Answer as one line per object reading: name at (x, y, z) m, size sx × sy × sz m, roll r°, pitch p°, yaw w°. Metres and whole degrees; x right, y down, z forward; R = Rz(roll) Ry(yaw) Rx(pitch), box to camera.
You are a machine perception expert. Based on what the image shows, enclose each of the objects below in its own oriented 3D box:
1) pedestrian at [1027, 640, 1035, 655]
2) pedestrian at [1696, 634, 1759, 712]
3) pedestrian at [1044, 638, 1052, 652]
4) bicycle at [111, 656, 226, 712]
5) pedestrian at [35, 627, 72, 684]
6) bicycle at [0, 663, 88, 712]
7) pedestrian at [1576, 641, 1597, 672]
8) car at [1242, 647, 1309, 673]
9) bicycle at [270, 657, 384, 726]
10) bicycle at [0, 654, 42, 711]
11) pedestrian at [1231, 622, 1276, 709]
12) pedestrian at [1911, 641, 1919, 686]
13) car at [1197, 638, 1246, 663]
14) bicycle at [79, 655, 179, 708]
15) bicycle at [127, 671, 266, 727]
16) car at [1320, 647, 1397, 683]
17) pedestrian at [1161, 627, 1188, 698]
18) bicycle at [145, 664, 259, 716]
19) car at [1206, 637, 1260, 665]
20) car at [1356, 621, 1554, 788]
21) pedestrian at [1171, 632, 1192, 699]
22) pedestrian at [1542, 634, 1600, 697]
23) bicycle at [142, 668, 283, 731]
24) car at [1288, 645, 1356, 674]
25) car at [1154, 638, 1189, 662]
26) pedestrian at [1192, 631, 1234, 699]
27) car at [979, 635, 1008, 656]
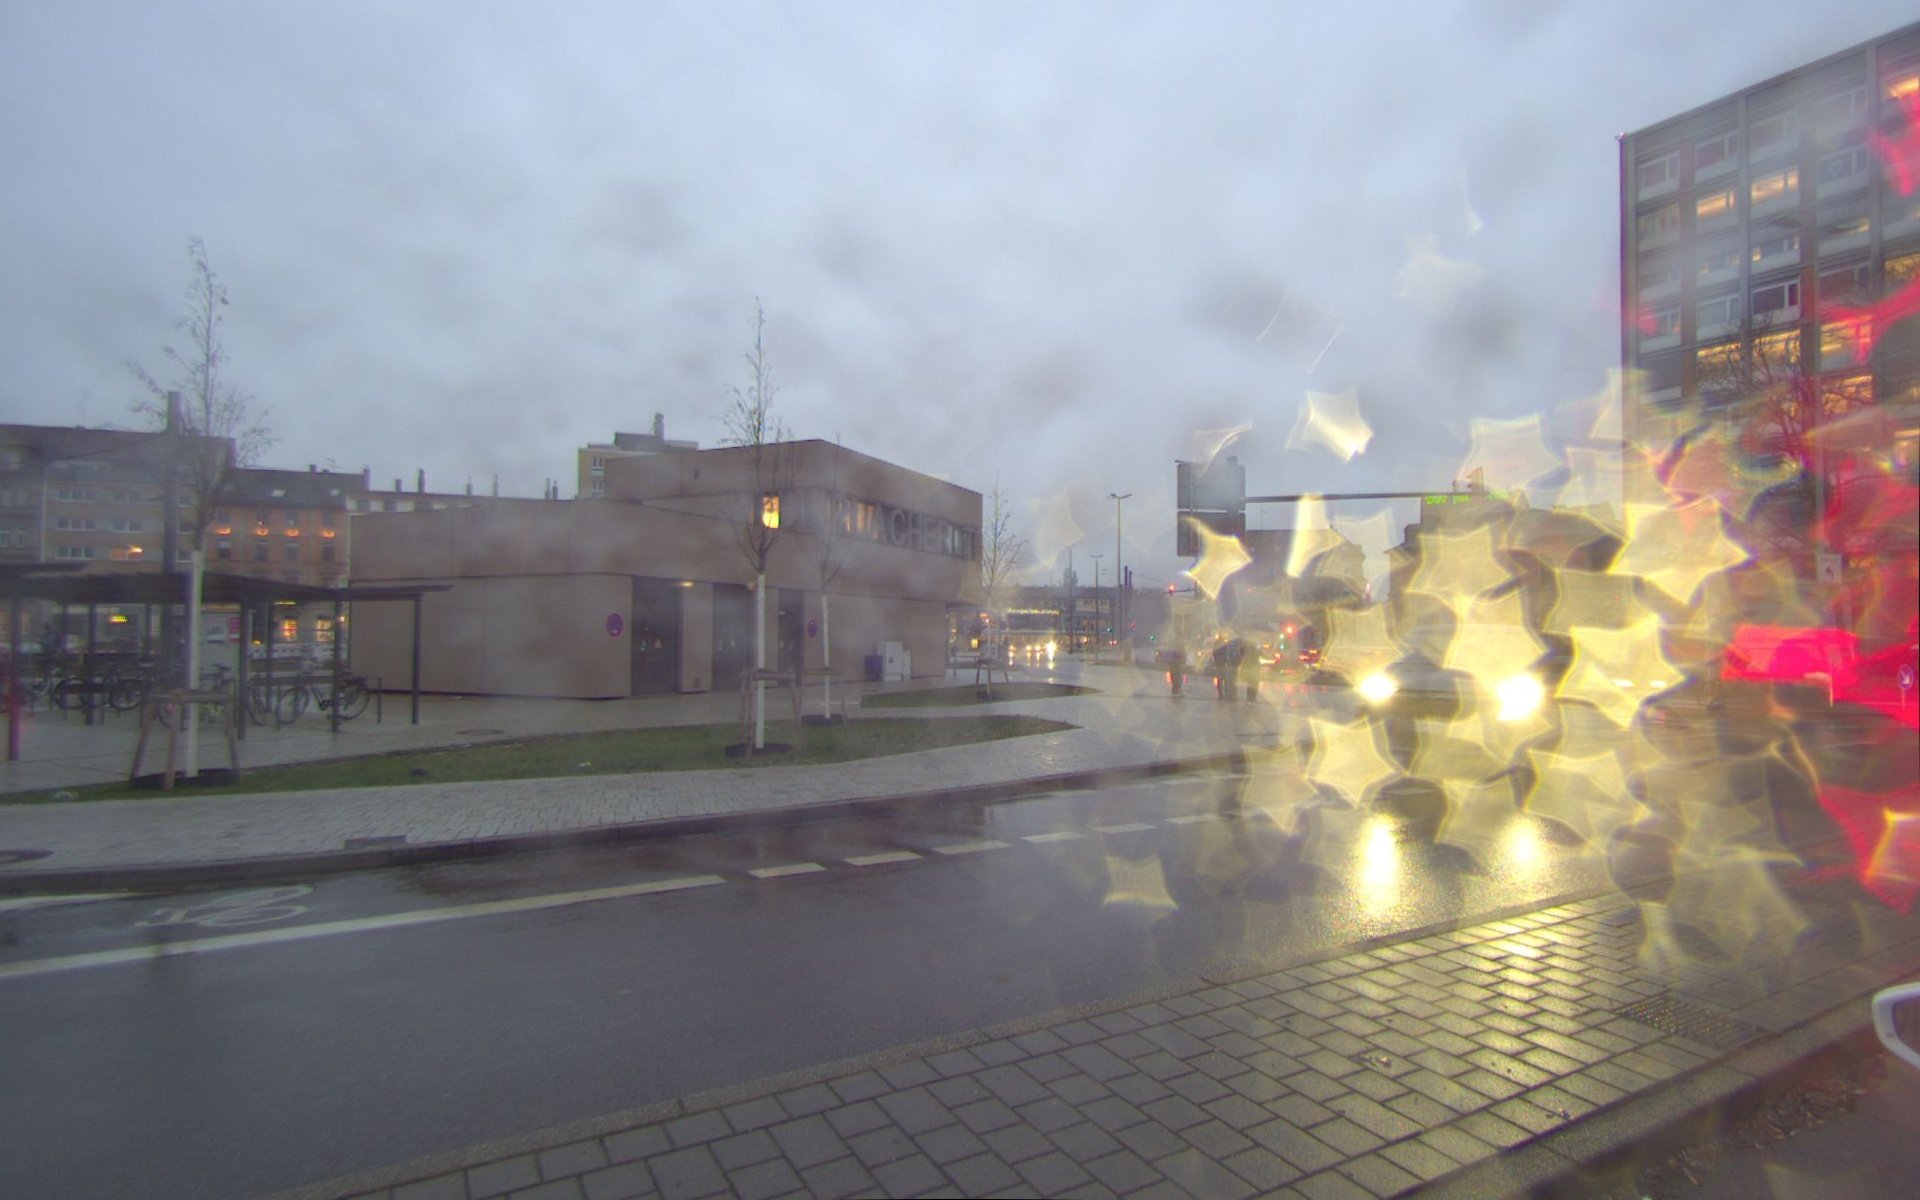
pedestrian at (9.694, 6.440, 136.381) m, size 0.960 × 2.040 × 0.921 m, roll -1°, pitch -2°, yaw 11°
pedestrian at (20.064, 1.888, 26.277) m, size 0.946 × 2.004 × 0.925 m, roll 0°, pitch -2°, yaw -24°
pedestrian at (12.913, 6.593, 147.215) m, size 0.960 × 2.040 × 0.921 m, roll -1°, pitch -2°, yaw 11°
bicycle at (-16.534, 1.738, 21.035) m, size 0.466 × 1.087 × 1.830 m, roll 1°, pitch -2°, yaw 26°
pedestrian at (-26.871, 1.639, 29.781) m, size 0.519 × 1.688 × 0.699 m, roll -2°, pitch -2°, yaw 34°
bicycle at (-18.512, 1.735, 19.985) m, size 0.466 × 0.903 × 1.693 m, roll 1°, pitch -2°, yaw 24°
pedestrian at (33.477, 3.013, 53.691) m, size 0.548 × 1.649 × 0.760 m, roll 0°, pitch -2°, yaw -15°
car at (20.083, 3.812, 63.976) m, size 3.741 × 1.502 × 1.602 m, roll 2°, pitch 0°, yaw -1°
bicycle at (-11.753, 1.678, 18.715) m, size 0.605 × 1.172 × 1.755 m, roll 1°, pitch -2°, yaw 20°
bicycle at (-19.397, 1.634, 19.834) m, size 0.466 × 1.122 × 1.797 m, roll 1°, pitch -2°, yaw 29°
pedestrian at (7.081, 1.578, 24.206) m, size 0.971 × 2.047 × 0.802 m, roll -1°, pitch -2°, yaw 19°
pedestrian at (35.905, 2.358, 37.132) m, size 0.708 × 1.649 × 0.761 m, roll 0°, pitch -2°, yaw -9°
car at (19.384, 3.728, 74.496) m, size 3.321 × 1.724 × 1.526 m, roll 2°, pitch 0°, yaw 8°
bicycle at (-17.690, 1.713, 21.428) m, size 0.511 × 1.050 × 1.574 m, roll 1°, pitch -2°, yaw 19°
bicycle at (-13.590, 1.740, 17.947) m, size 0.466 × 0.903 × 1.923 m, roll 1°, pitch -2°, yaw 29°
car at (20.491, 3.316, 51.815) m, size 1.795 × 1.589 × 3.991 m, roll 2°, pitch 0°, yaw -11°
pedestrian at (5.708, 1.658, 26.790) m, size 0.663 × 1.863 × 0.736 m, roll -1°, pitch -2°, yaw 10°
bicycle at (-15.184, 1.781, 20.170) m, size 0.466 × 0.968 × 1.767 m, roll 1°, pitch -2°, yaw 29°
car at (19.614, 3.661, 72.351) m, size 3.514 × 1.850 × 1.672 m, roll 2°, pitch 0°, yaw 8°
car at (5.797, 1.097, 11.842) m, size 1.742 × 1.598 × 3.996 m, roll -2°, pitch -3°, yaw 26°
pedestrian at (6.029, 1.774, 27.351) m, size 0.537 × 1.793 × 0.743 m, roll -1°, pitch -2°, yaw 12°
pedestrian at (18.940, 2.004, 31.146) m, size 1.116 × 1.867 × 1.005 m, roll -3°, pitch -2°, yaw 4°
bicycle at (-12.939, 1.705, 17.455) m, size 0.466 × 0.989 × 1.923 m, roll 1°, pitch -2°, yaw 29°
car at (20.896, 3.414, 58.075) m, size 3.364 × 1.481 × 1.515 m, roll 2°, pitch 0°, yaw -1°
car at (15.954, 3.772, 75.946) m, size 1.791 × 1.589 × 4.000 m, roll 2°, pitch 0°, yaw 1°
pedestrian at (6.719, 1.719, 26.708) m, size 0.838 × 1.778 × 0.659 m, roll 0°, pitch -2°, yaw -14°
car at (2.584, 3.555, 78.105) m, size 1.649 × 1.598 × 3.420 m, roll 0°, pitch -2°, yaw -9°
